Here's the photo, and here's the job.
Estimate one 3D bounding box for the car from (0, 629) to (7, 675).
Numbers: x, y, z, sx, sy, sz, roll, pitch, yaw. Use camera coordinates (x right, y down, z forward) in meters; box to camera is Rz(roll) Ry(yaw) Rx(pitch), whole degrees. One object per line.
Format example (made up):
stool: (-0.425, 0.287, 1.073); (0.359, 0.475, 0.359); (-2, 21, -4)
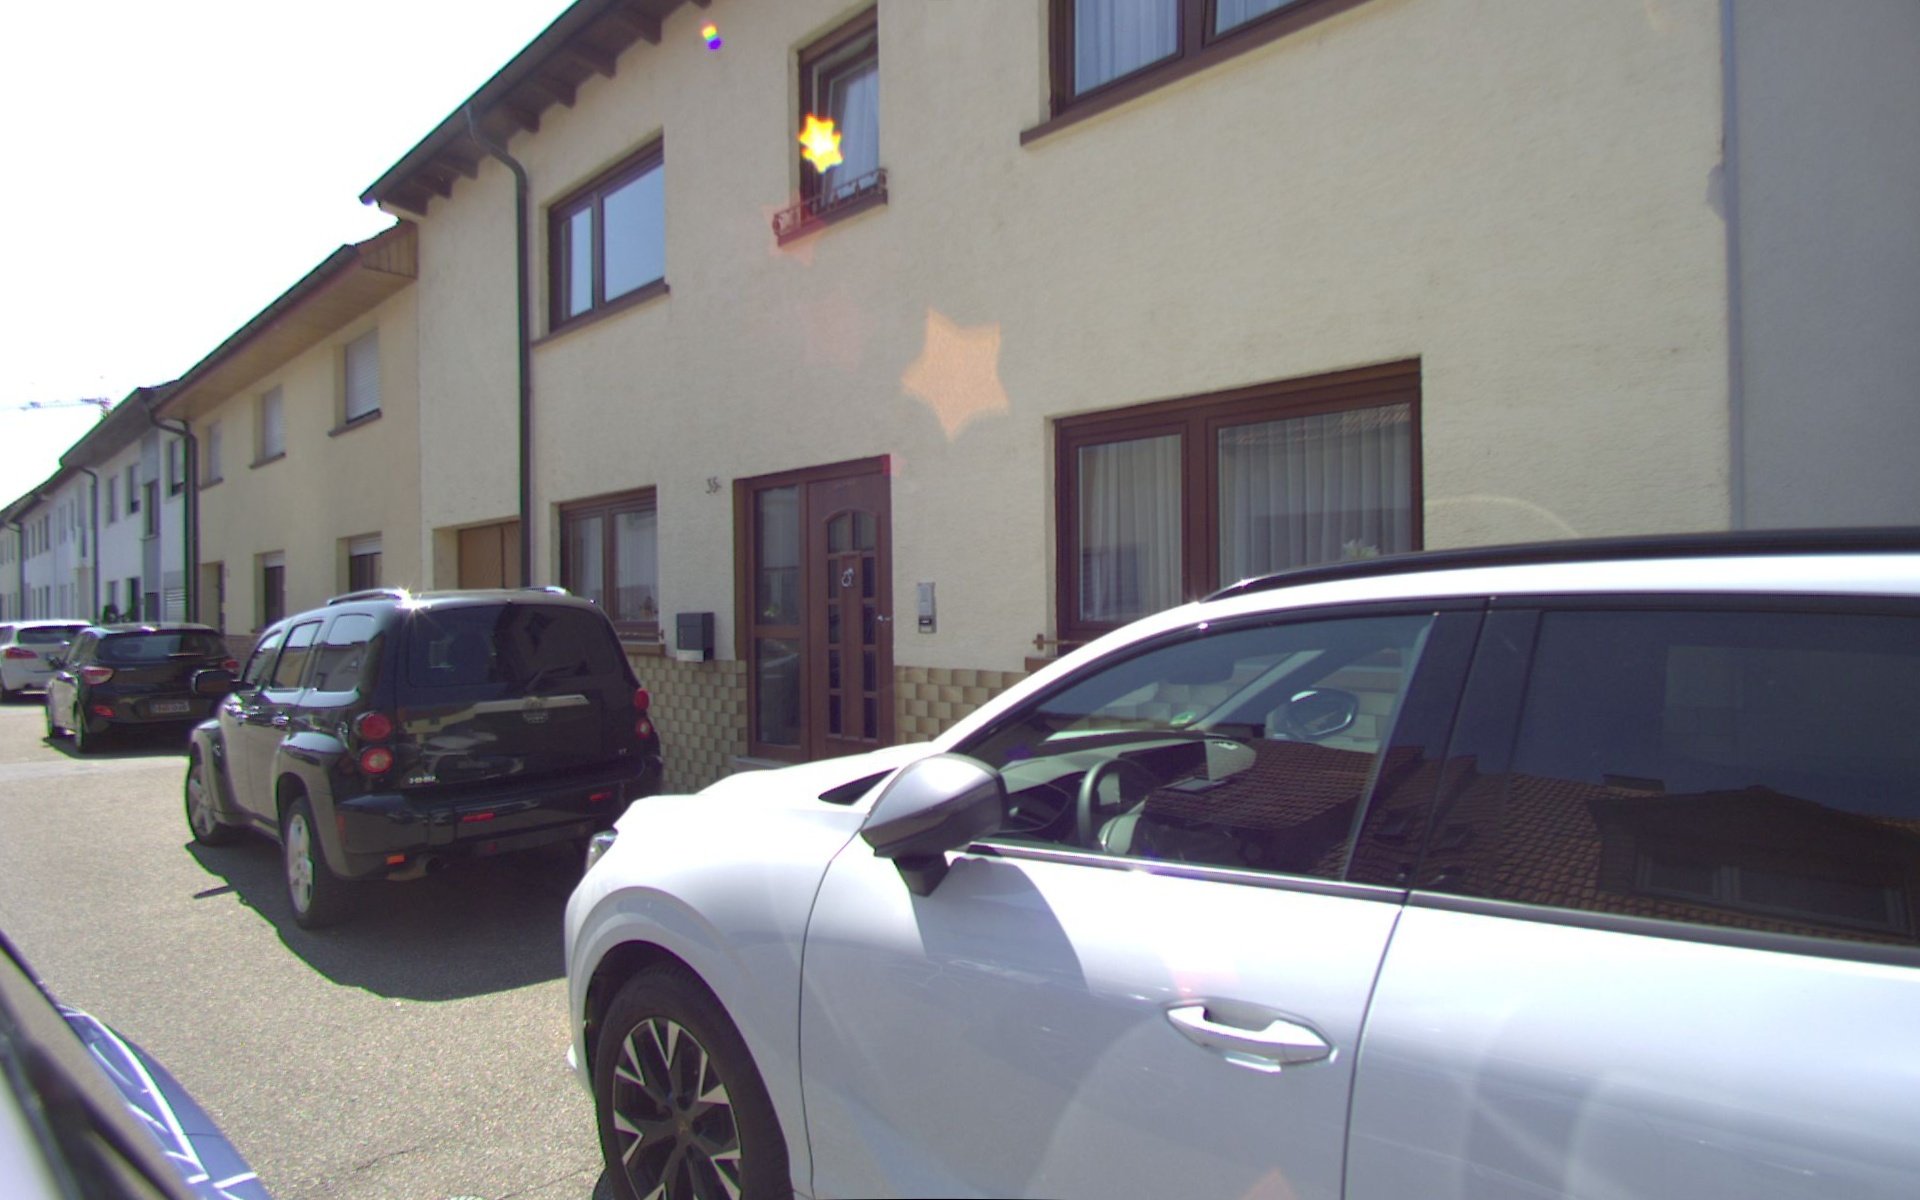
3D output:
car: (-32.123, 1.688, 32.829); (3.214, 1.454, 1.584); (-2, -2, 44)

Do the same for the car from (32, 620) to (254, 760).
car: (-10.739, 1.042, 13.212); (3.941, 1.549, 1.623); (-1, -2, 42)

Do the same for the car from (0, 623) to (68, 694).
car: (-22.900, 1.363, 24.341); (3.685, 1.553, 1.646); (-1, 0, 40)

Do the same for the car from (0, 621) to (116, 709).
car: (-18.759, 1.241, 20.686); (3.939, 1.560, 1.646); (-1, 1, 40)

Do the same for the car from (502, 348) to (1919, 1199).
car: (1.075, 0.619, 1.767); (4.346, 1.627, 1.756); (-1, -2, 41)

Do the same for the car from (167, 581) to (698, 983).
car: (-3.397, 0.777, 6.127); (3.991, 1.627, 1.703); (-1, -2, 45)
